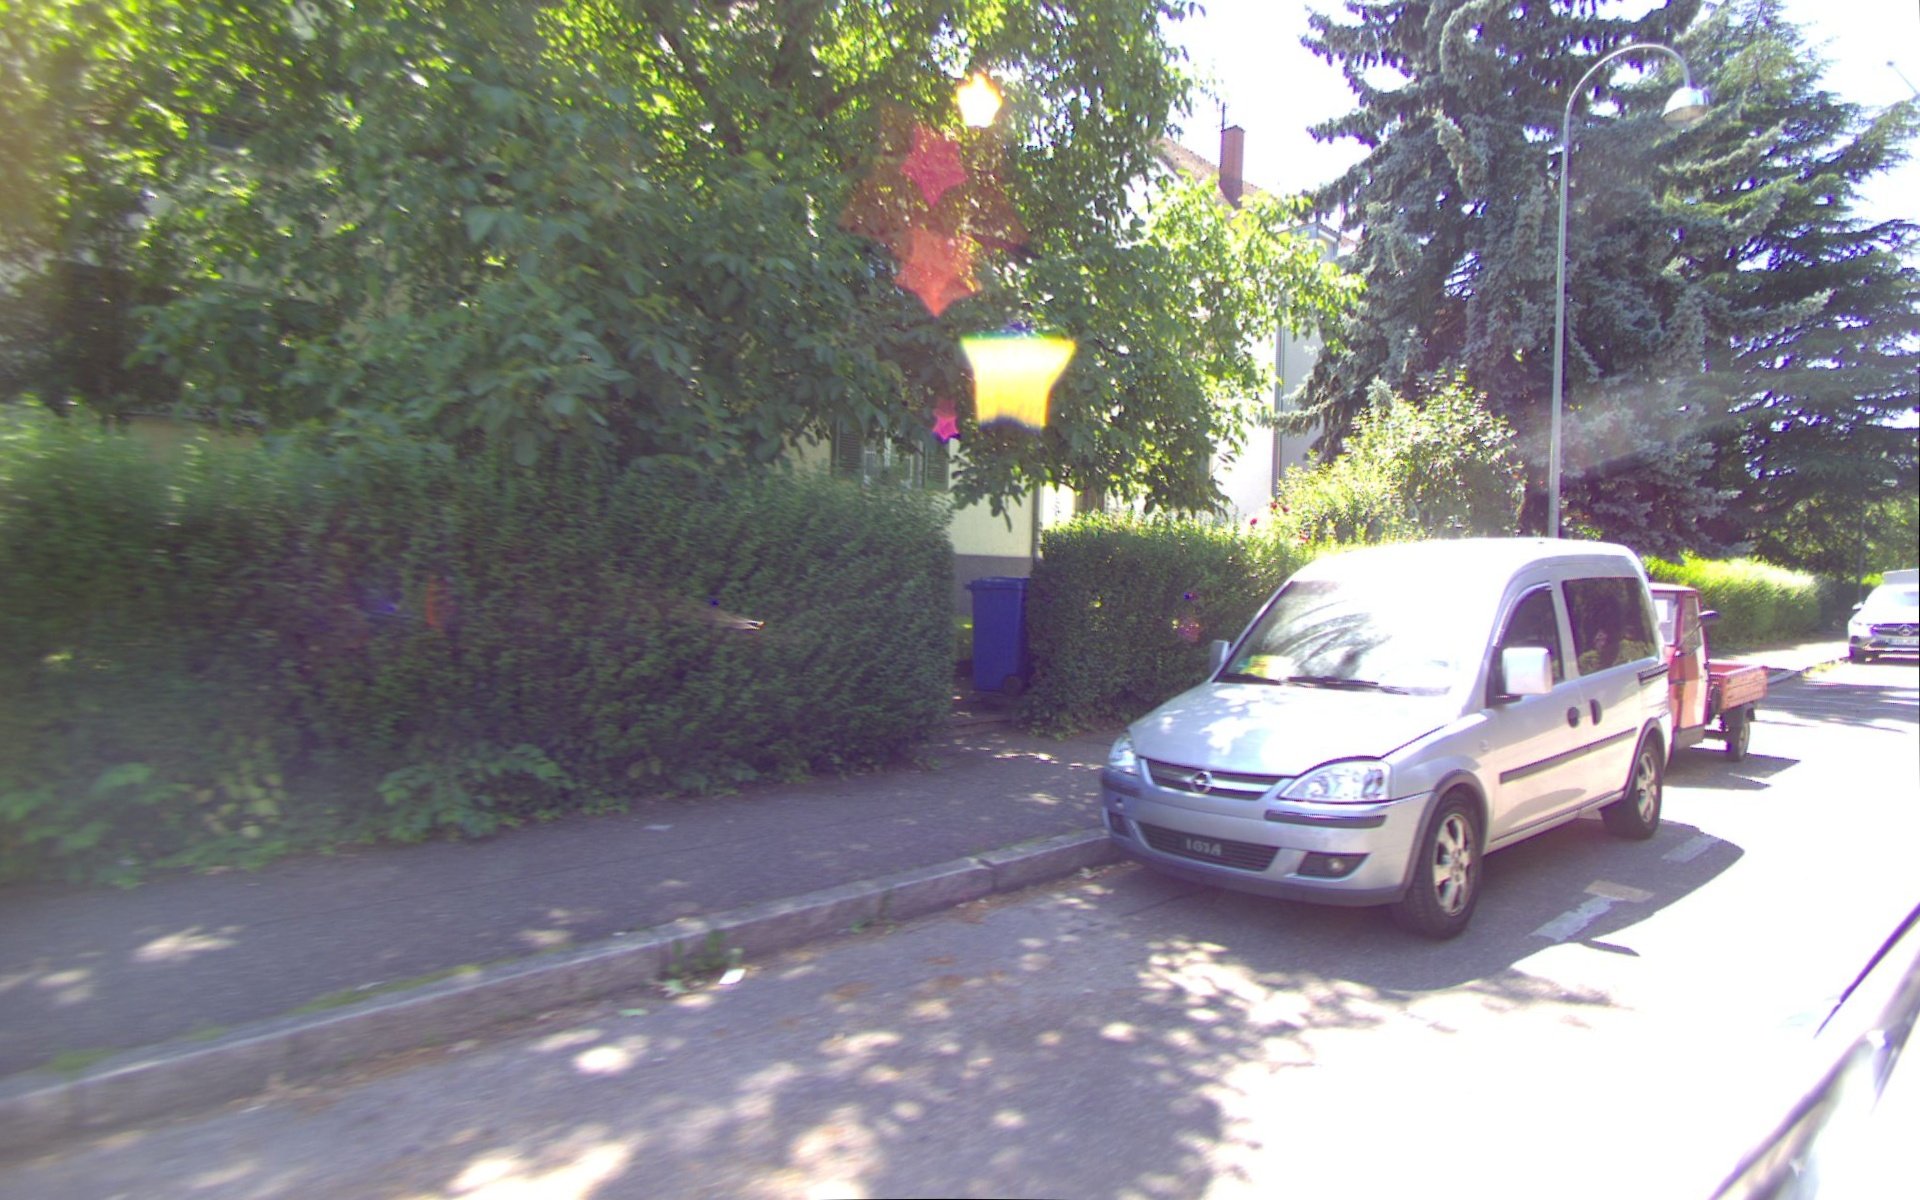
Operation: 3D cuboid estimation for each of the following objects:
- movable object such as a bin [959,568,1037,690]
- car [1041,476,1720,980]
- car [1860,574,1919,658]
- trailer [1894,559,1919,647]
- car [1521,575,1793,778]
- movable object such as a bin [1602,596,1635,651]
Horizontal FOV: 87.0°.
[{"bbox_3d":[0.355,0.246,9.295,0.555,1.059,0.558,2,2,19],"label":"movable object such as a bin"},{"bbox_3d":[2.655,0.432,5.756,4.464,1.805,1.749,-1,0,-41],"label":"car"},{"bbox_3d":[20.534,0.306,21.418,4.526,1.652,1.773,0,0,-43],"label":"car"},{"bbox_3d":[24.532,0.060,25.126,3.645,2.094,1.681,0,0,-43],"label":"trailer"},{"bbox_3d":[6.171,0.556,8.894,2.660,1.514,1.263,-1,0,-39],"label":"car"},{"bbox_3d":[12.131,0.425,18.645,0.441,1.004,0.405,0,0,-41],"label":"movable object such as a bin"}]
